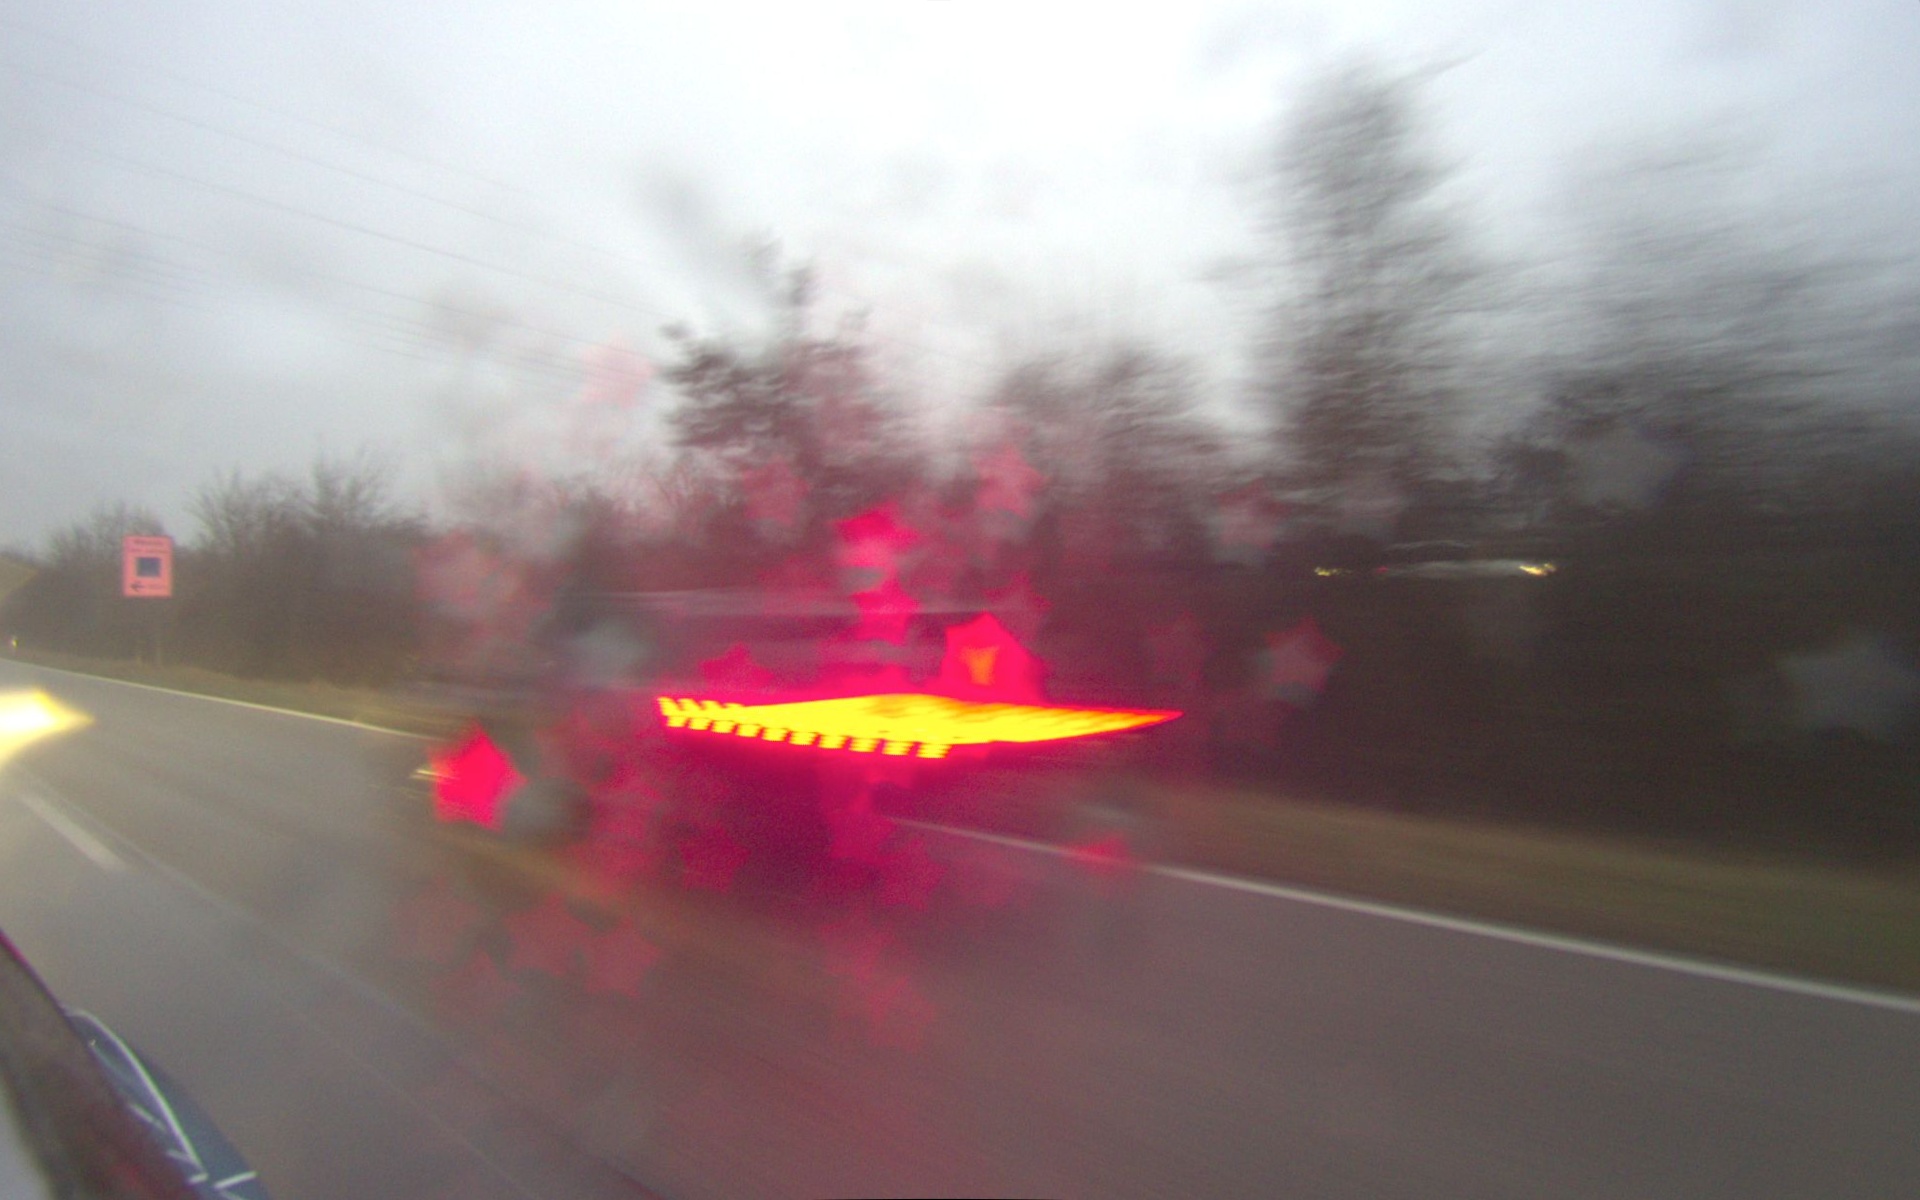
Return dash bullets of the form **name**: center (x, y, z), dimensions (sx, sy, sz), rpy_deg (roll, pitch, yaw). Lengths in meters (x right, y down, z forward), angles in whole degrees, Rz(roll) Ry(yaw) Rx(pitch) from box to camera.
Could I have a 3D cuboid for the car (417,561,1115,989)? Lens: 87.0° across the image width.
- **car**: center (-1.363, 0.694, 5.832), dimensions (4.162, 1.603, 1.751), rpy_deg (-2, -1, 41)
